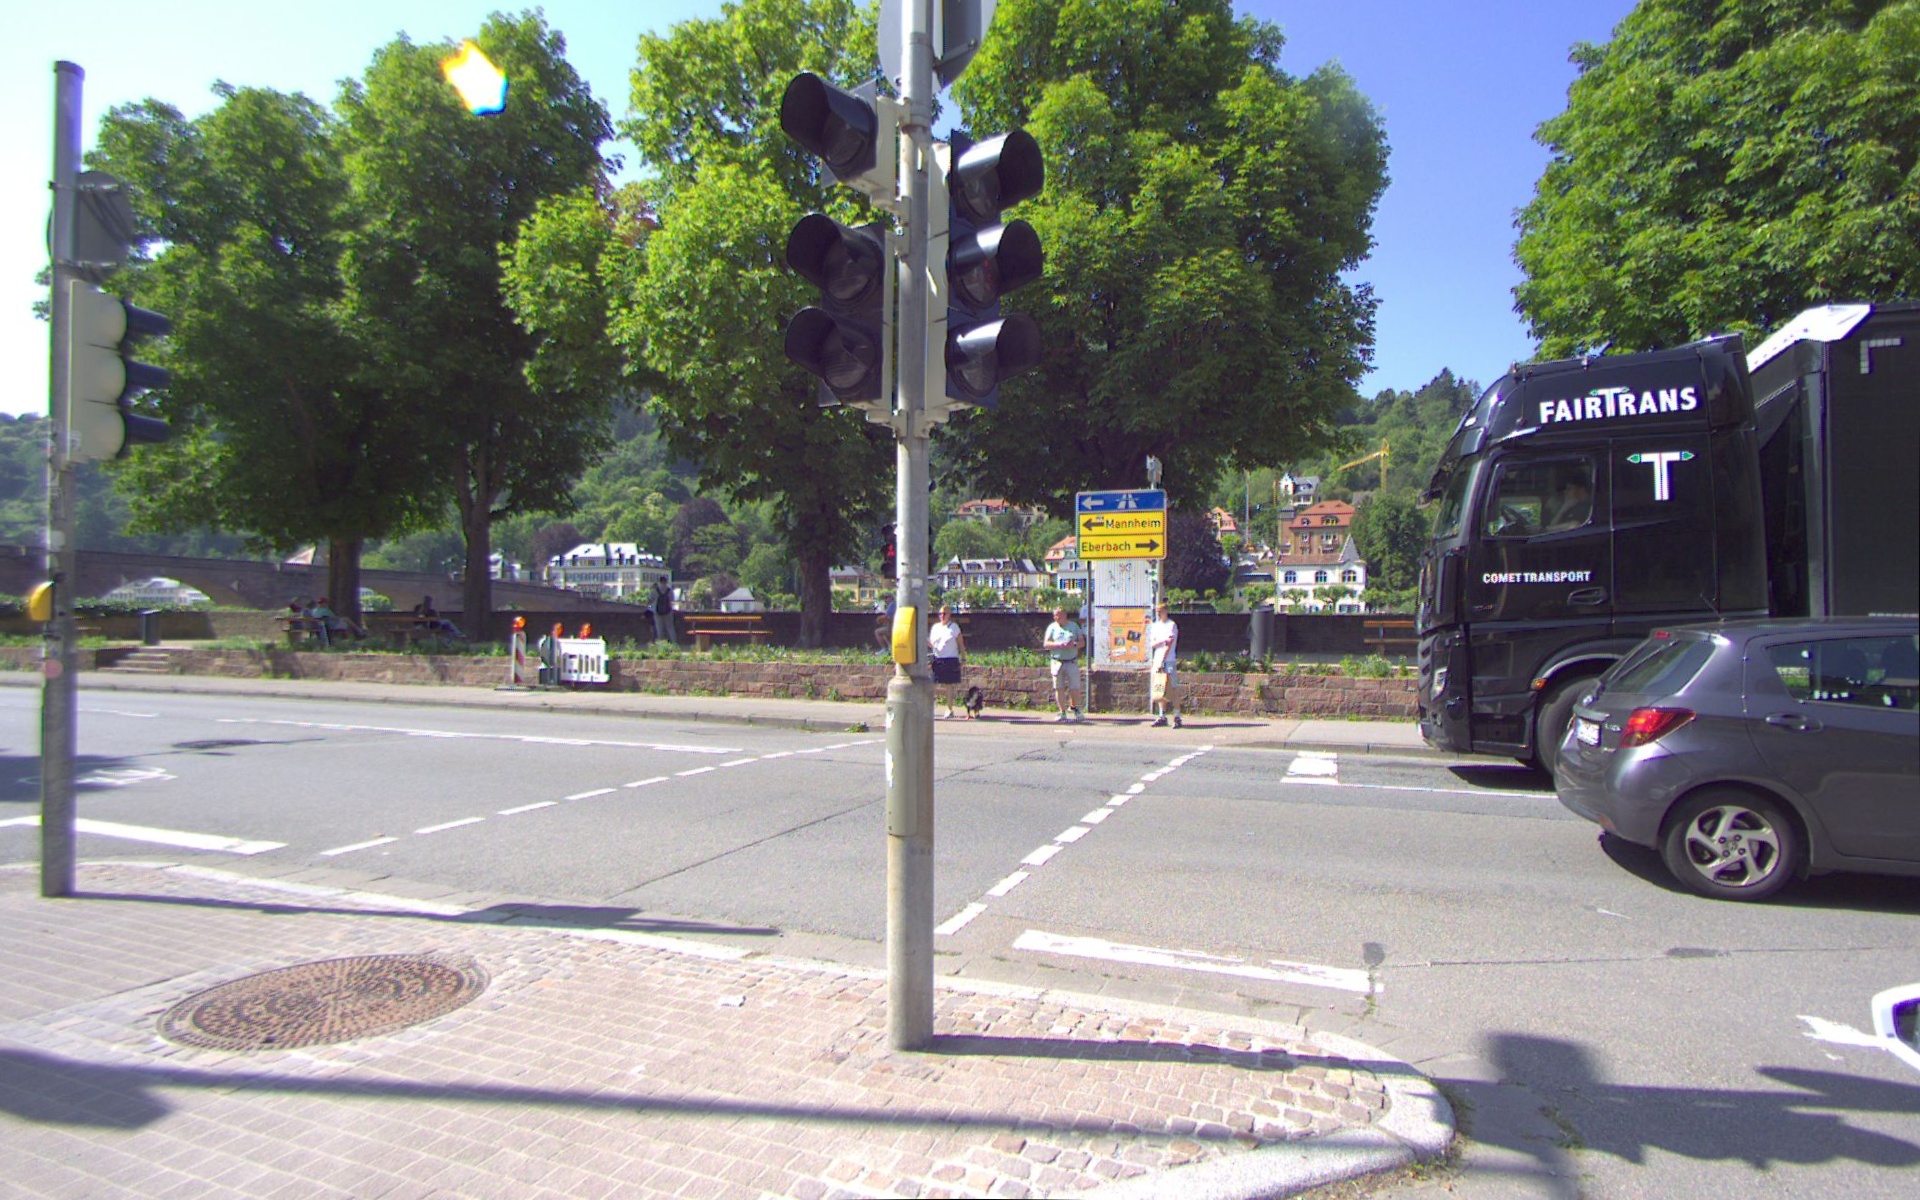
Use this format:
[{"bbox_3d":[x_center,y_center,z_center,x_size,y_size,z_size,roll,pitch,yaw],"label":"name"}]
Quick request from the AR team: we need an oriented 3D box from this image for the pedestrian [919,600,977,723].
[{"bbox_3d":[-0.179,0.944,15.802,0.621,1.826,0.724,4,3,19],"label":"pedestrian"}]

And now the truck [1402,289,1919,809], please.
[{"bbox_3d":[7.452,-0.331,9.506,5.816,4.124,2.840,0,-3,21],"label":"truck"}]

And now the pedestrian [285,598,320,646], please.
[{"bbox_3d":[-17.829,0.599,27.240,0.460,1.287,0.631,0,-2,26],"label":"pedestrian"}]

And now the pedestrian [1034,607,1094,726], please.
[{"bbox_3d":[1.609,1.005,15.578,0.706,1.793,0.687,0,0,-19],"label":"pedestrian"}]

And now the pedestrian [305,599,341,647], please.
[{"bbox_3d":[-17.044,0.620,26.866,0.460,1.287,0.631,0,-2,26],"label":"pedestrian"}]

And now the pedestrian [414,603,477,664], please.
[{"bbox_3d":[-13.008,0.864,25.421,0.460,1.499,1.384,0,-2,25],"label":"pedestrian"}]

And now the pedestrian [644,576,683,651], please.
[{"bbox_3d":[-7.621,0.351,25.835,0.750,1.882,0.756,2,-2,-5],"label":"pedestrian"}]

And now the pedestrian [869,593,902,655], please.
[{"bbox_3d":[-1.501,0.493,20.392,0.631,1.244,0.414,-1,-4,0],"label":"pedestrian"}]

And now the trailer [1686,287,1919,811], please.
[{"bbox_3d":[13.705,-0.362,7.127,13.502,4.157,2.843,0,-3,21],"label":"trailer"}]

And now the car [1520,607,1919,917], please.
[{"bbox_3d":[5.460,0.832,5.619,3.804,1.518,1.728,0,-2,19],"label":"car"}]

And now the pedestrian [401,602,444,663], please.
[{"bbox_3d":[-13.598,0.834,25.421,0.460,1.512,0.804,0,-2,25],"label":"pedestrian"}]

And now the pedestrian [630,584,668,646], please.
[{"bbox_3d":[-9.069,0.438,29.263,0.696,1.754,0.757,1,-2,17],"label":"pedestrian"}]

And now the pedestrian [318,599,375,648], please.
[{"bbox_3d":[-16.425,0.645,26.922,0.460,1.287,1.223,0,-2,25],"label":"pedestrian"}]

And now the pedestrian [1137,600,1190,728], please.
[{"bbox_3d":[3.001,0.928,14.805,0.691,1.825,0.580,0,-2,18],"label":"pedestrian"}]
